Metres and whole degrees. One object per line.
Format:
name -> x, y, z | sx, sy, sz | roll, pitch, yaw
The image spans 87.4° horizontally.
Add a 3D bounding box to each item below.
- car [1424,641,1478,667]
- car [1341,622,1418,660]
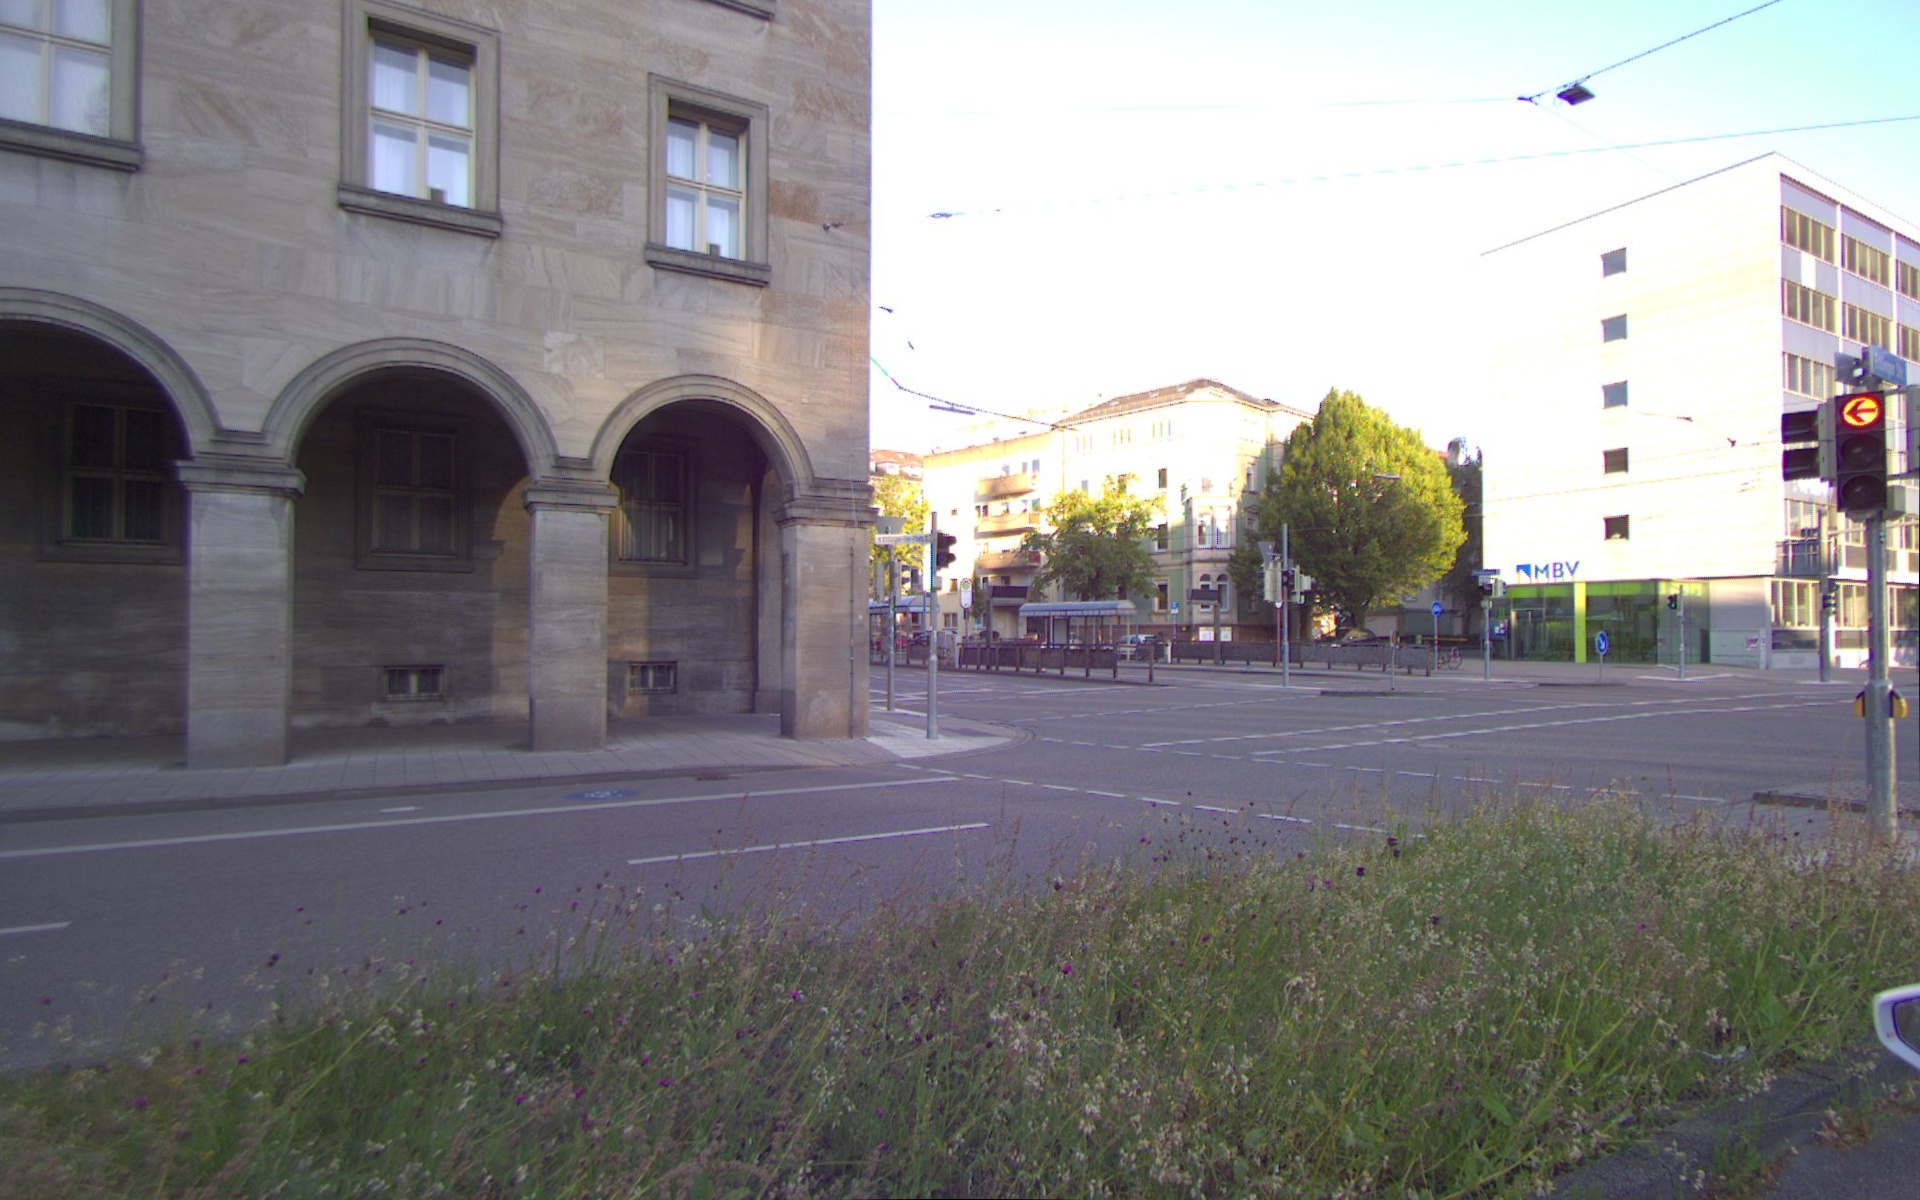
car -> 21.200, 2.330, 43.340 | 2.492, 1.088, 0.849 | 1, -2, -31
car -> 23.146, 2.235, 55.374 | 3.954, 2.040, 1.984 | 1, -2, -31
